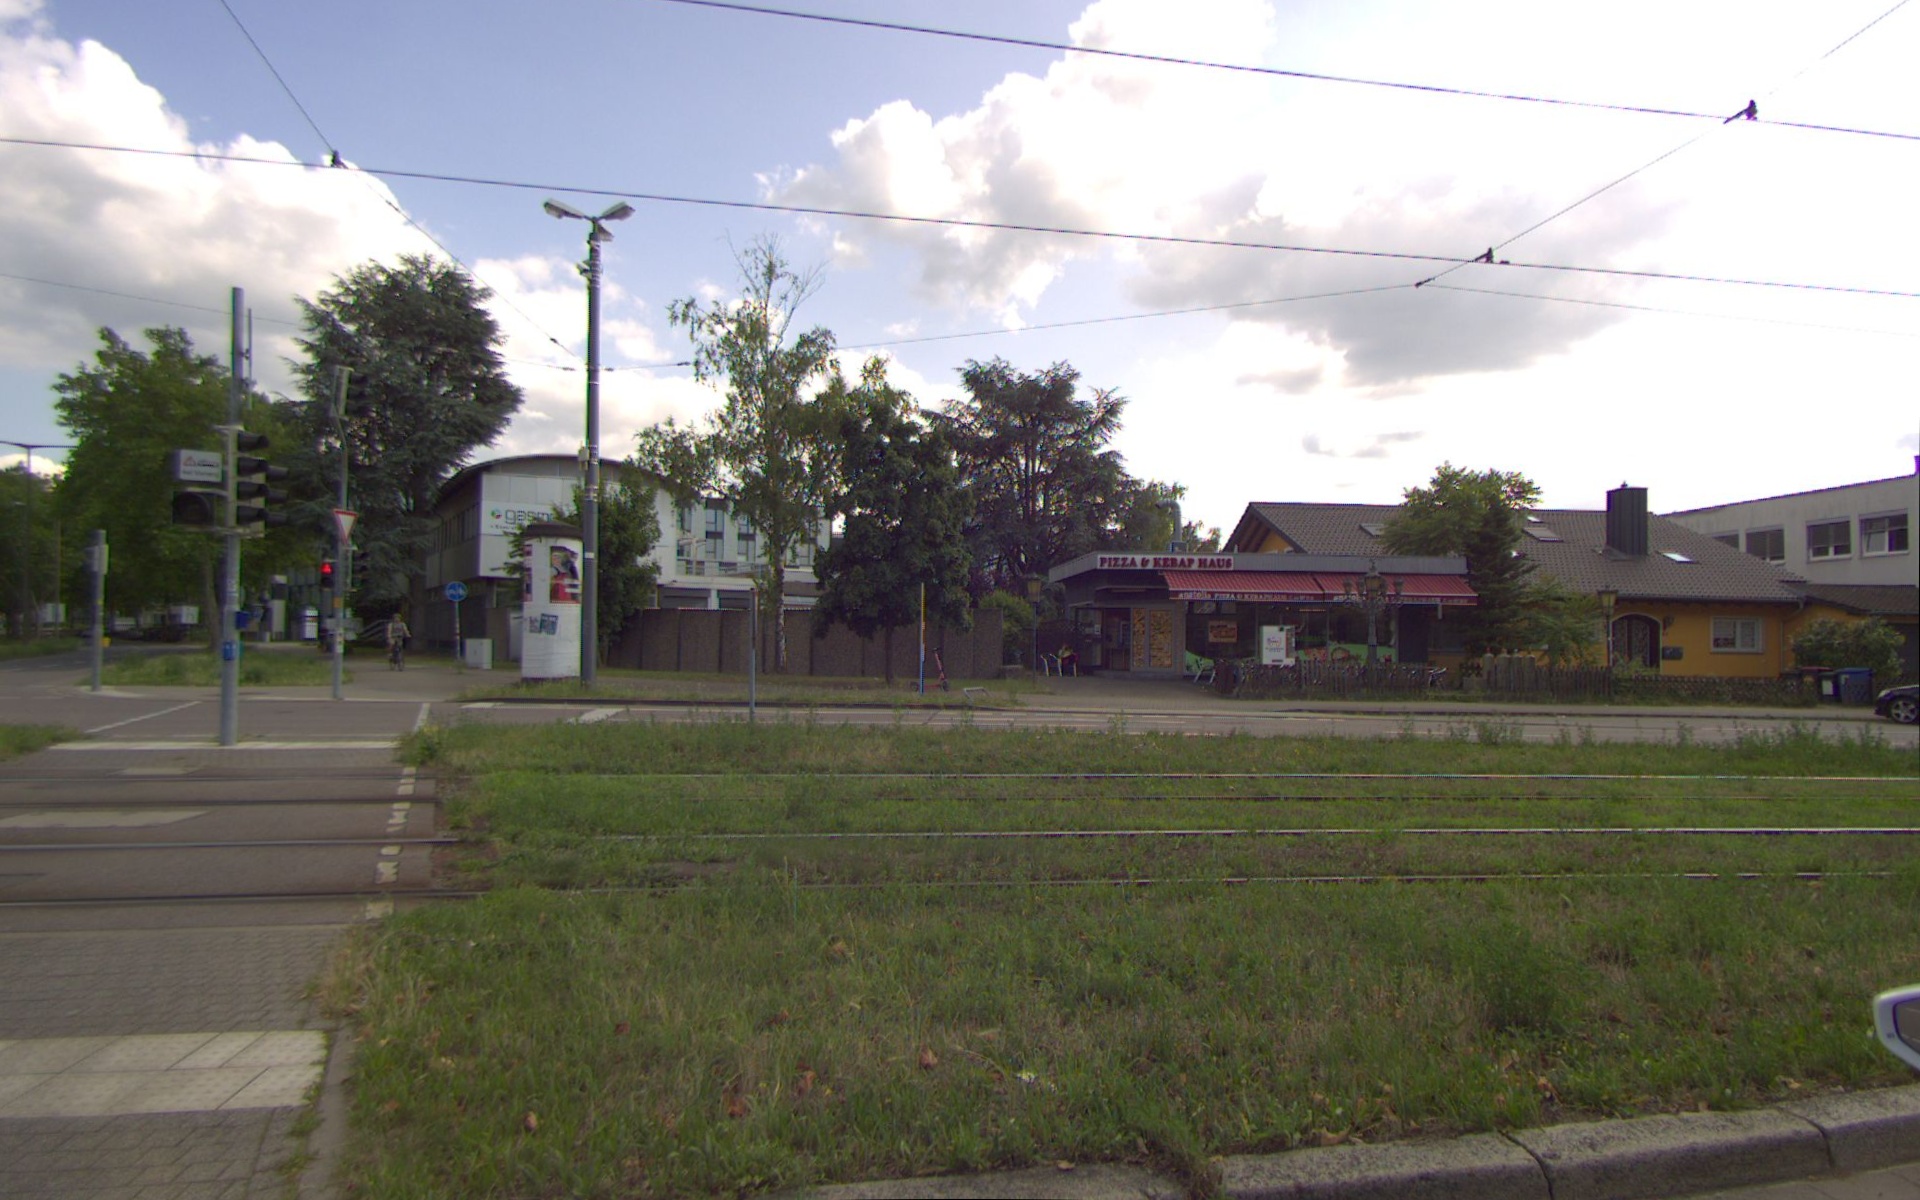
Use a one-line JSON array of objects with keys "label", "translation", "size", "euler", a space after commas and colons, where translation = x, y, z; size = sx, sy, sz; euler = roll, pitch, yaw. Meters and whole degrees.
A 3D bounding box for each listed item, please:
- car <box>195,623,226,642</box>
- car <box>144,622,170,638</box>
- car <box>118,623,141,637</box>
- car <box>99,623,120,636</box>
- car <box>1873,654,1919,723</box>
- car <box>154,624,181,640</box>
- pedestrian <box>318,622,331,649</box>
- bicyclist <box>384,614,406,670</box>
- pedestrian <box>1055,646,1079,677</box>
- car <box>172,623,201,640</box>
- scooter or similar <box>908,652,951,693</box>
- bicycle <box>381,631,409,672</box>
[{"label": "car", "translation": [-70.702, 3.046, 94.726], "size": [1.986, 1.595, 3.950], "euler": [2, 0, -42]}, {"label": "car", "translation": [-92.365, 3.447, 115.520], "size": [1.986, 1.595, 3.950], "euler": [2, 0, -42]}, {"label": "car", "translation": [-104.230, 3.801, 126.074], "size": [1.986, 1.595, 3.950], "euler": [2, 0, -42]}, {"label": "car", "translation": [-114.362, 3.978, 135.021], "size": [1.986, 1.595, 3.950], "euler": [2, 0, -42]}, {"label": "car", "translation": [23.748, 2.023, 22.446], "size": [1.972, 1.601, 4.555], "euler": [2, -3, -23]}, {"label": "car", "translation": [-85.340, 3.444, 108.159], "size": [1.986, 1.595, 3.950], "euler": [2, 0, -42]}, {"label": "pedestrian", "translation": [-37.562, 2.113, 59.355], "size": [0.615, 1.590, 0.554], "euler": [2, 0, -32]}, {"label": "bicyclist", "translation": [-18.949, 1.399, 33.686], "size": [0.536, 1.833, 0.539], "euler": [2, 0, -37]}, {"label": "pedestrian", "translation": [3.544, 2.038, 33.407], "size": [0.713, 0.941, 0.777], "euler": [2, 0, 1]}, {"label": "car", "translation": [-79.057, 3.246, 102.685], "size": [1.986, 1.595, 3.950], "euler": [2, 0, -42]}, {"label": "scooter or similar", "translation": [-0.844, 1.989, 27.730], "size": [1.082, 1.073, 0.402], "euler": [2, 0, 12]}, {"label": "bicycle", "translation": [-18.915, 1.715, 33.632], "size": [0.536, 1.252, 1.931], "euler": [2, 0, -37]}]
